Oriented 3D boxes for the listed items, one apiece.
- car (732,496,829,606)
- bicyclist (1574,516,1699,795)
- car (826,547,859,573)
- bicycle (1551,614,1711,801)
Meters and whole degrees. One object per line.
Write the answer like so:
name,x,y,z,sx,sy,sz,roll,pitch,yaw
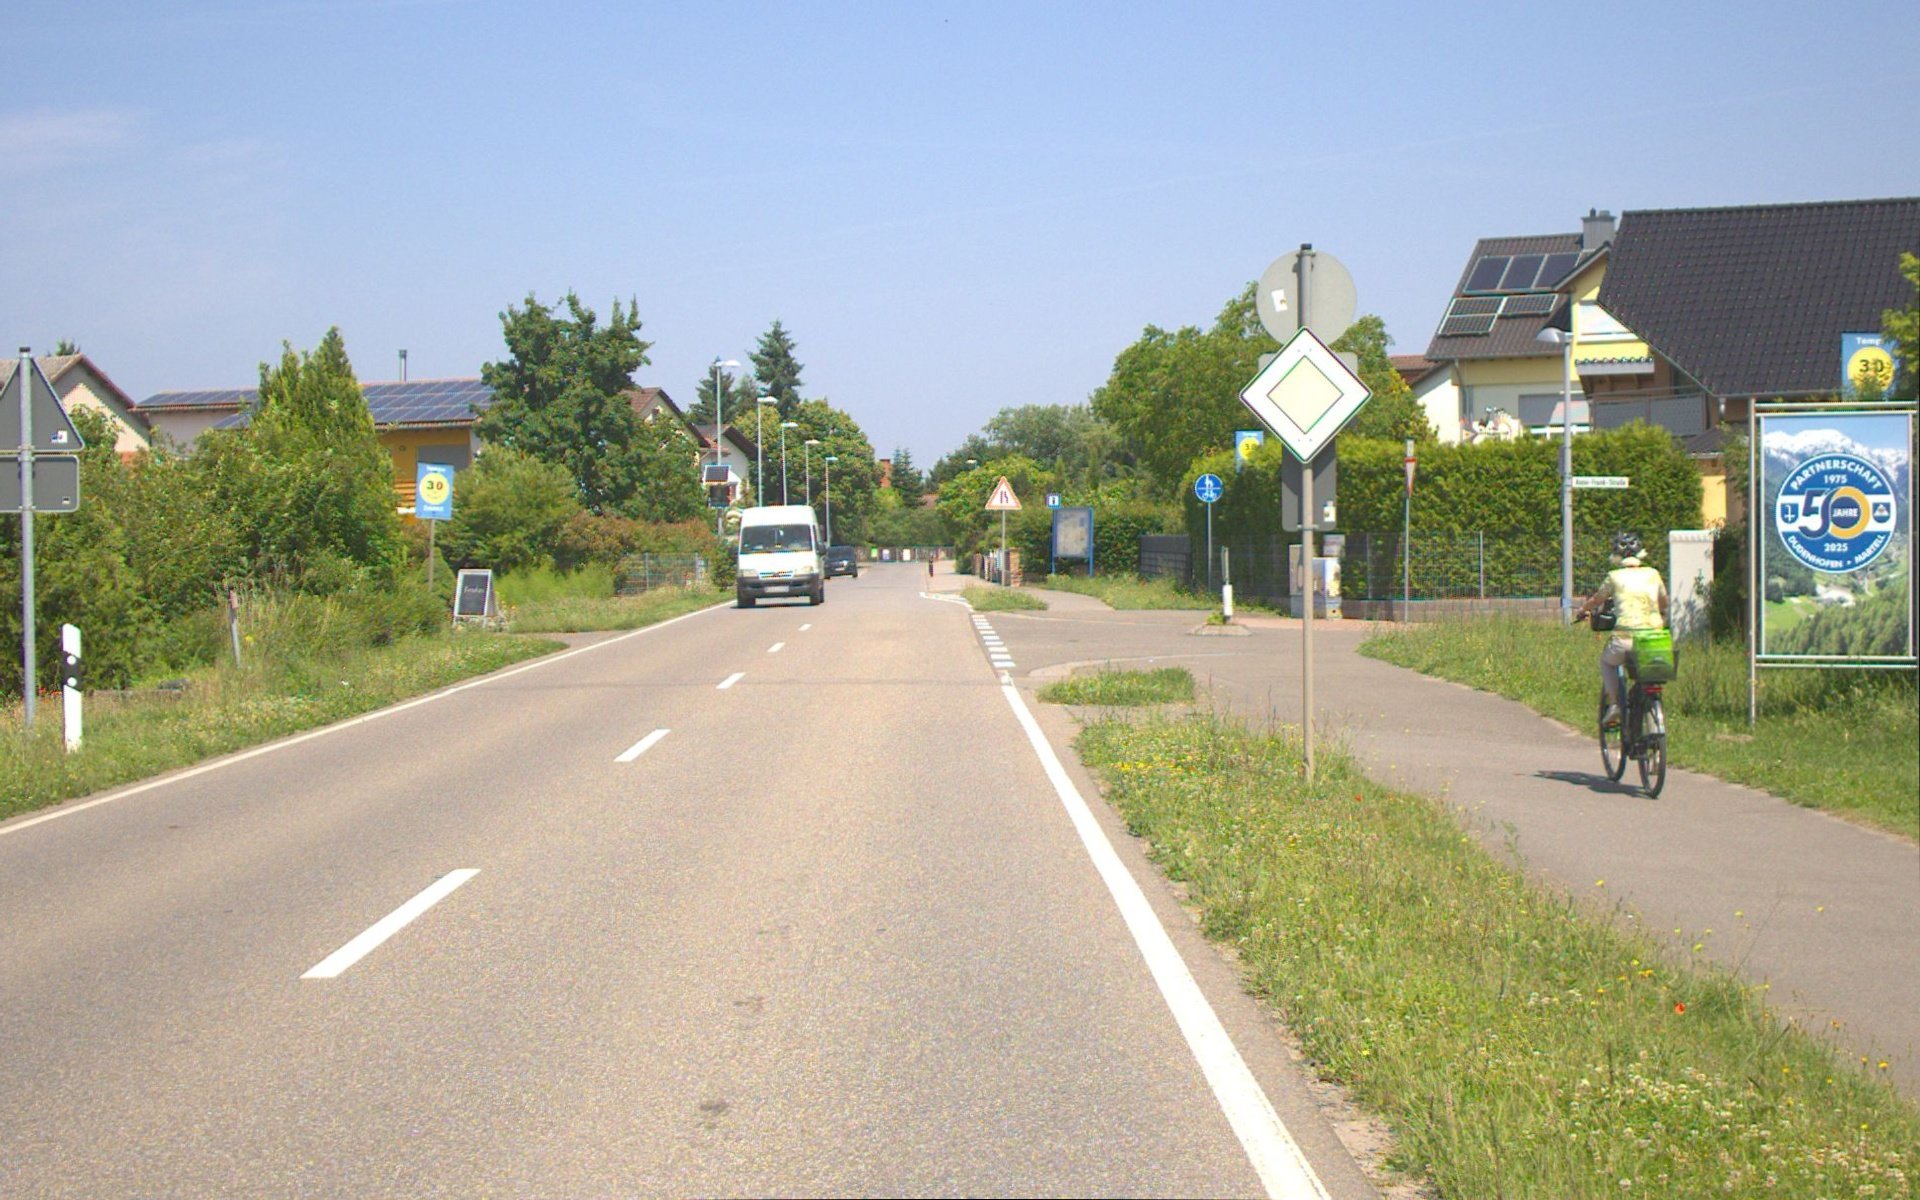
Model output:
car,-4.369,-1.231,84.516,2.077,2.533,5.874,-2,1,-1
bicyclist,4.686,0.369,23.849,0.645,1.883,0.861,1,2,-1
car,-6.585,-2.240,192.314,1.759,1.380,3.453,-2,1,-1
bicycle,4.671,0.722,24.072,0.610,1.155,2.274,1,2,-1
